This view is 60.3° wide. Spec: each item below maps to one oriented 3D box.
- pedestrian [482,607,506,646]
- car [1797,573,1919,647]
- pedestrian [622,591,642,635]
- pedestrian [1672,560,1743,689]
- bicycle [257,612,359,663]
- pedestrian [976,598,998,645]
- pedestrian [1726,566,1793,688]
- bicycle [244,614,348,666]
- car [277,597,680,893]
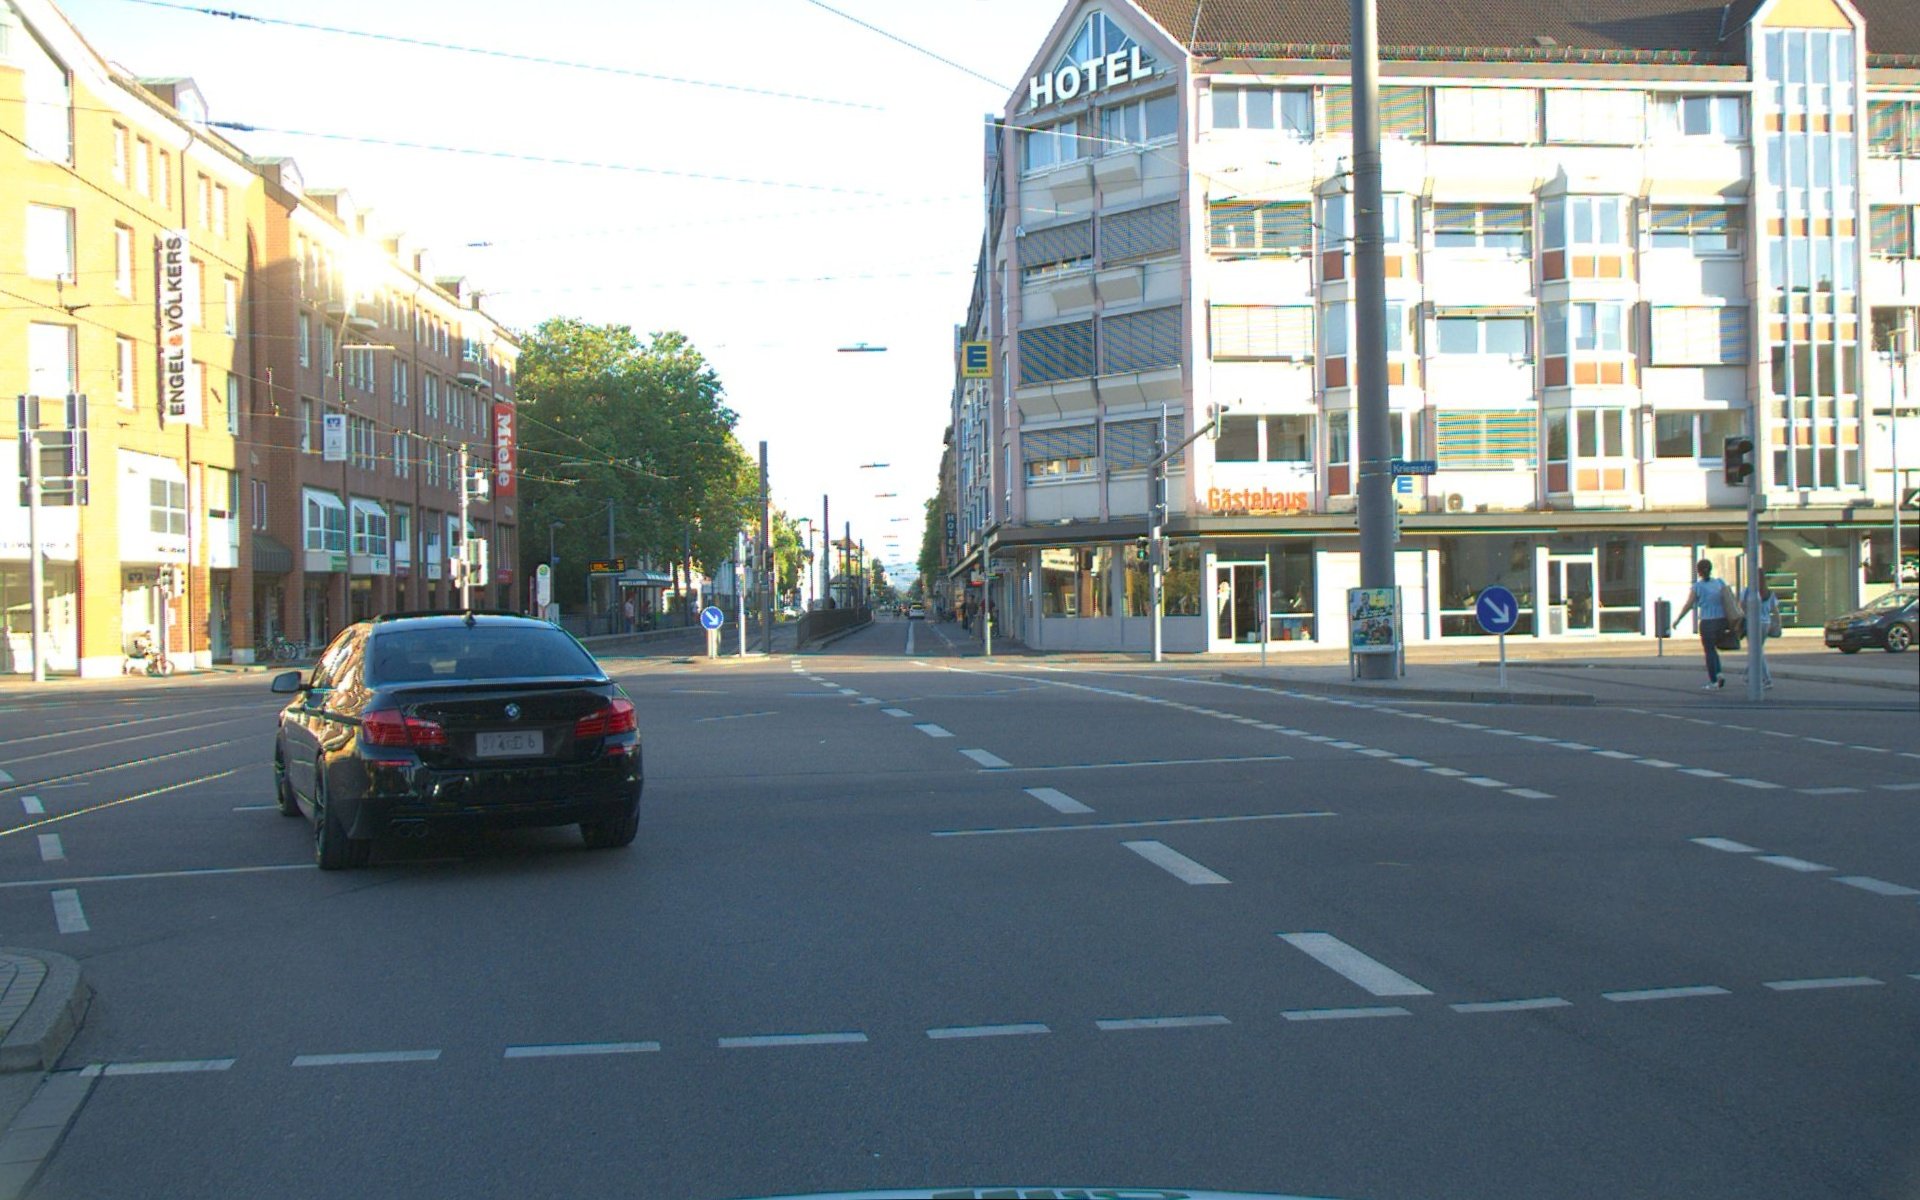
[{"bbox_3d":[-25.000,1.426,88.747,1.064,2.049,1.083,-1,0,-7],"label":"pedestrian"},{"bbox_3d":[21.711,0.182,37.319,4.501,1.583,2.224,-1,0,2],"label":"car"},{"bbox_3d":[-15.344,0.600,77.442,0.792,2.049,0.677,-1,0,-6],"label":"pedestrian"},{"bbox_3d":[9.970,0.325,22.054,0.712,1.678,0.769,-1,0,33],"label":"pedestrian"},{"bbox_3d":[-23.803,1.360,60.430,3.231,1.756,1.068,-1,0,-4],"label":"bicycle"},{"bbox_3d":[0.932,0.744,57.938,0.691,1.575,0.906,0,3,-4],"label":"pedestrian"},{"bbox_3d":[10.815,0.353,22.372,0.691,1.610,0.823,-1,0,33],"label":"pedestrian"},{"bbox_3d":[-23.769,1.425,59.261,3.231,1.756,1.069,-1,0,-2],"label":"bicycle"},{"bbox_3d":[-3.366,0.768,10.943,1.819,1.521,4.255,1,0,-27],"label":"car"}]
